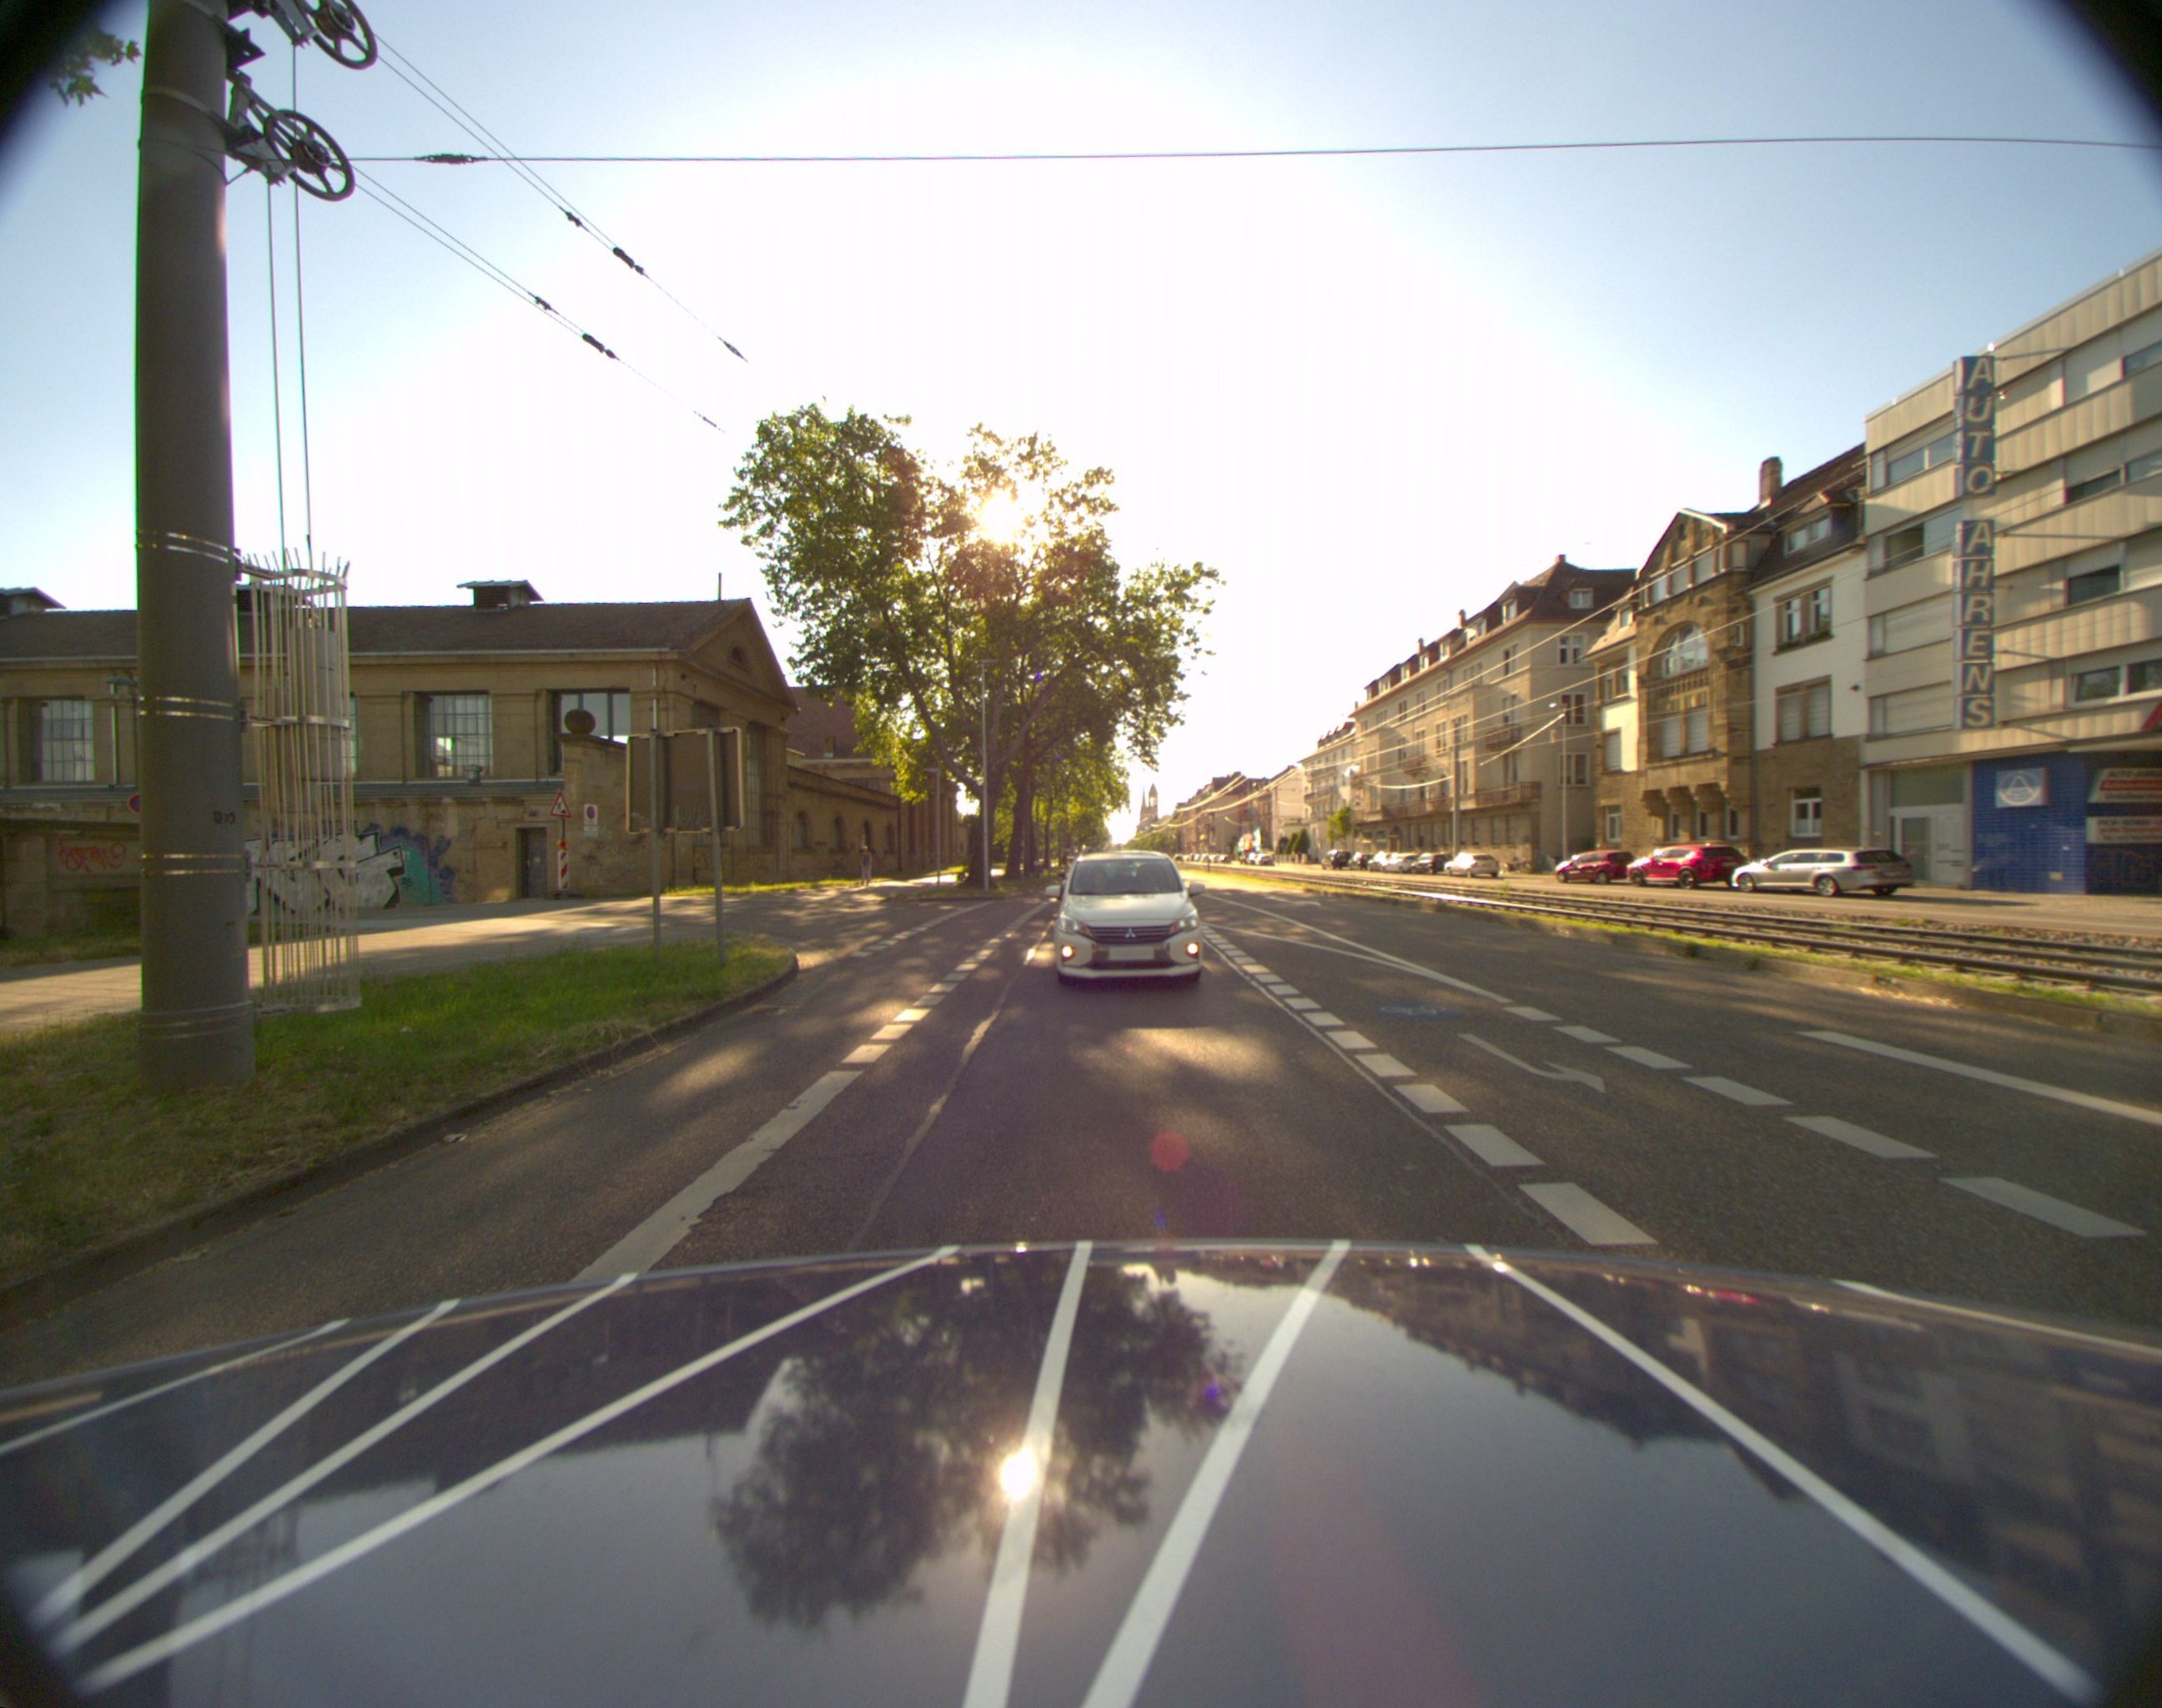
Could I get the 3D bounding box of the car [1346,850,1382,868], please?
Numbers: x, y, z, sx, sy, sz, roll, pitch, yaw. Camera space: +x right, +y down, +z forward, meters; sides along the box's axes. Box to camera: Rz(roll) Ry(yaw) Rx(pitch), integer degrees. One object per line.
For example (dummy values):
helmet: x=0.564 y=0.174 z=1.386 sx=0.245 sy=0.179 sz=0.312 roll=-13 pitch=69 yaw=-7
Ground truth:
car: x=24.789 y=0.423 z=66.642 sx=1.802 sy=1.470 sz=3.823 roll=-2 pitch=0 yaw=2

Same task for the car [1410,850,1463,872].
car: x=24.080 y=0.454 z=51.612 sx=1.802 sy=1.422 sz=3.823 roll=-2 pitch=0 yaw=0

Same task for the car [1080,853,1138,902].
car: x=0.963 y=0.752 z=26.226 sx=1.833 sy=1.543 sz=4.000 roll=0 pitch=1 yaw=2

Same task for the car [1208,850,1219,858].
car: x=26.058 y=0.002 z=149.479 sx=1.624 sy=1.581 sz=3.450 roll=-2 pitch=0 yaw=1

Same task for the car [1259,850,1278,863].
car: x=24.296 y=0.284 z=98.695 sx=1.677 sy=1.622 sz=3.408 roll=-2 pitch=0 yaw=2

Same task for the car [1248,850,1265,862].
car: x=25.071 y=0.309 z=108.579 sx=1.684 sy=1.562 sz=3.388 roll=-2 pitch=0 yaw=1

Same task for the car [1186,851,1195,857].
car: x=26.848 y=0.002 z=186.543 sx=1.624 sy=1.581 sz=3.450 roll=-2 pitch=0 yaw=1

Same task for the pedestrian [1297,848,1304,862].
pedestrian: x=27.992 y=0.160 z=96.875 sx=0.725 sy=1.779 sz=0.678 roll=0 pitch=1 yaw=1

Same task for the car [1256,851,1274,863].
car: x=25.148 y=0.354 z=104.088 sx=1.684 sy=1.562 sz=3.388 roll=-2 pitch=0 yaw=1

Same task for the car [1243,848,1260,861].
car: x=25.677 y=0.093 z=114.506 sx=1.727 sy=1.776 sz=3.881 roll=-2 pitch=0 yaw=1

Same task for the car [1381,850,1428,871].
car: x=23.742 y=0.461 z=55.824 sx=1.642 sy=1.438 sz=3.538 roll=-2 pitch=0 yaw=-6

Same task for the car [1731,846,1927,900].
car: x=23.350 y=0.545 z=23.998 sx=1.860 sy=1.490 sz=4.382 roll=-2 pitch=0 yaw=0

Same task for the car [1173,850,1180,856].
car: x=28.293 y=-0.349 z=224.267 sx=1.624 sy=1.581 sz=3.450 roll=-2 pitch=0 yaw=1

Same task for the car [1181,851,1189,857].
car: x=27.045 y=-0.030 z=197.063 sx=1.624 sy=1.581 sz=3.450 roll=-2 pitch=0 yaw=1

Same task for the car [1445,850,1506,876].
car: x=23.954 y=0.533 z=46.313 sx=1.802 sy=1.470 sz=3.823 roll=-2 pitch=0 yaw=2

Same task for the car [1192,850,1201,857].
car: x=27.200 y=-0.040 z=179.056 sx=1.624 sy=1.581 sz=3.450 roll=-2 pitch=0 yaw=1

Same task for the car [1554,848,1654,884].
car: x=23.566 y=0.528 z=34.402 sx=1.756 sy=1.487 sz=3.728 roll=-3 pitch=0 yaw=-5

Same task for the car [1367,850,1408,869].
car: x=24.438 y=0.416 z=60.738 sx=1.802 sy=1.470 sz=3.823 roll=-2 pitch=0 yaw=2

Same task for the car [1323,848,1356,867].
car: x=24.531 y=0.320 z=72.157 sx=1.875 sy=1.726 sz=3.916 roll=-2 pitch=0 yaw=2

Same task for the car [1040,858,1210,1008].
car: x=0.505 y=0.808 z=9.708 sx=1.686 sy=1.462 sz=4.055 roll=-1 pitch=0 yaw=2

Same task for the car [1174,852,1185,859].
car: x=21.658 y=0.318 z=167.196 sx=1.822 sy=1.674 sz=4.000 roll=0 pitch=0 yaw=2

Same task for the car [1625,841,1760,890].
car: x=23.401 y=0.420 z=29.307 sx=1.860 sy=1.677 sz=4.263 roll=-2 pitch=0 yaw=2

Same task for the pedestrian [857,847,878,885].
pedestrian: x=-9.564 y=0.525 z=34.063 sx=0.672 sy=1.652 sz=0.874 roll=0 pitch=1 yaw=4

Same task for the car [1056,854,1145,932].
car: x=0.437 y=0.763 z=16.805 sx=1.686 sy=1.462 sz=4.055 roll=-1 pitch=0 yaw=2

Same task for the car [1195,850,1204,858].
car: x=27.196 y=-0.016 z=174.098 sx=1.624 sy=1.581 sz=3.450 roll=-2 pitch=0 yaw=1

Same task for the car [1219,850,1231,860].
car: x=25.542 y=0.189 z=134.968 sx=1.624 sy=1.581 sz=3.450 roll=-2 pitch=0 yaw=1

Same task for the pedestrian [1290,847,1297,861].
pedestrian: x=27.127 y=0.054 z=97.019 sx=0.725 sy=1.779 sz=0.678 roll=0 pitch=1 yaw=1

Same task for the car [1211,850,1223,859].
car: x=25.799 y=0.099 z=144.137 sx=1.624 sy=1.581 sz=3.450 roll=-2 pitch=0 yaw=1
